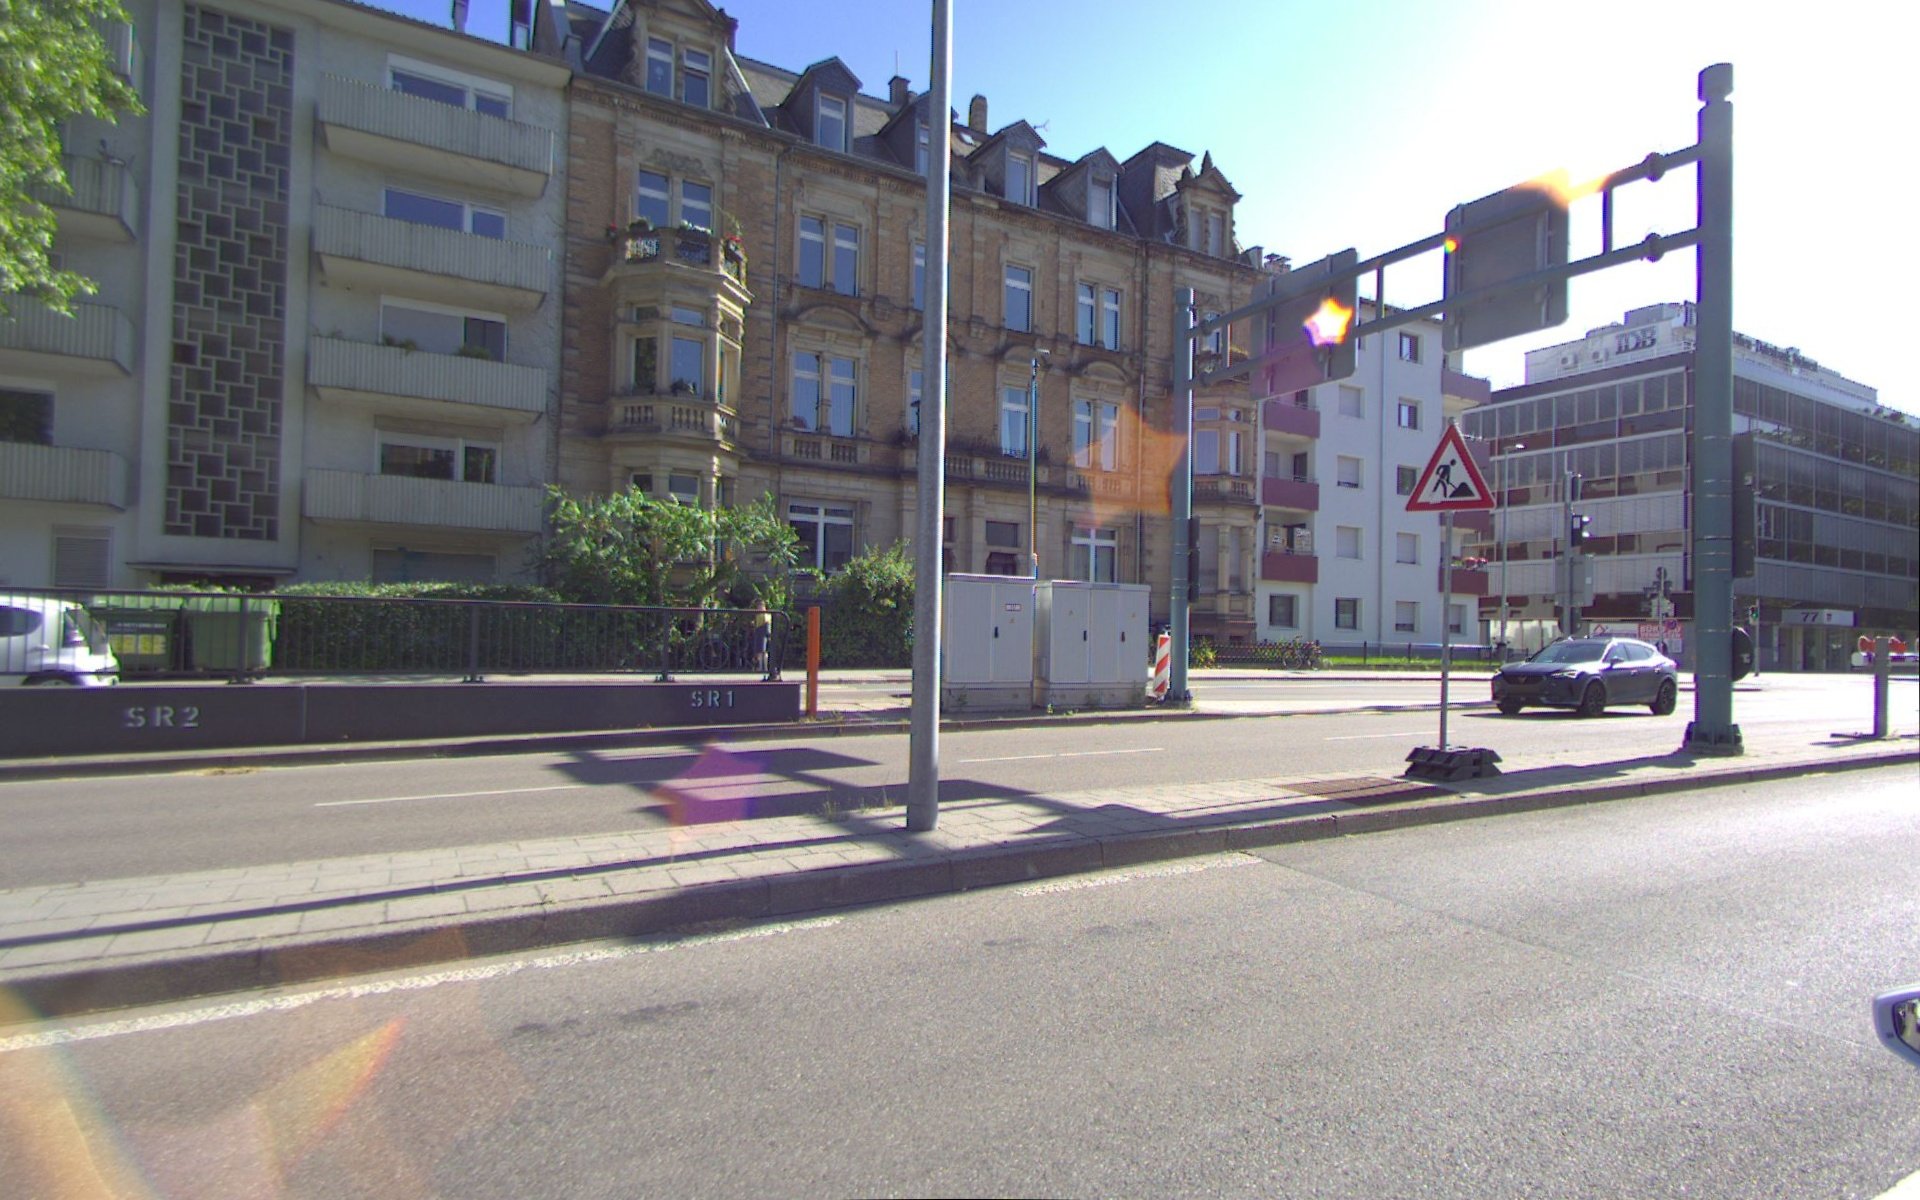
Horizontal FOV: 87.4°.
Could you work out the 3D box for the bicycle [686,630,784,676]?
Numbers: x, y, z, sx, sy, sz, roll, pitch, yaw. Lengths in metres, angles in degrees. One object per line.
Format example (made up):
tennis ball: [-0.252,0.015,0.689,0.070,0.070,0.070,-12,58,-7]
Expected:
bicycle: [-5.299,1.242,23.744,2.224,1.018,0.464,2,0,-32]

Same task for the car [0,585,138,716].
car: [-12.444,0.575,12.122,3.647,1.506,1.620,2,1,-30]

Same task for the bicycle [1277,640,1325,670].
bicycle: [11.396,1.852,33.532,1.916,0.971,0.303,2,-2,-29]

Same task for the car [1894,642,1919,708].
car: [24.133,1.716,23.479,4.560,1.472,1.986,1,-3,-28]

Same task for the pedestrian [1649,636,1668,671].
pedestrian: [34.468,2.621,49.576,0.688,1.679,0.745,0,-1,31]

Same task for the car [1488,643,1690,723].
car: [12.655,1.617,20.169,4.260,1.459,1.600,2,-4,-30]

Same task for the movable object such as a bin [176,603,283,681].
movable object such as a bin: [-13.342,0.770,18.404,1.455,1.378,0.889,1,-3,-28]

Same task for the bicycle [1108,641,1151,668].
bicycle: [5.046,1.615,29.908,1.397,0.781,0.297,2,-2,-29]

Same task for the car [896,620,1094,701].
car: [0.713,1.149,19.874,3.646,1.457,1.620,1,-2,-30]

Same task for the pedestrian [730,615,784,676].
pedestrian: [-4.729,1.058,23.390,1.078,1.396,0.563,2,-1,-31]

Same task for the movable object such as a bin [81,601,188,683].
movable object such as a bin: [-14.564,0.743,17.773,1.299,1.380,0.889,1,-3,-30]

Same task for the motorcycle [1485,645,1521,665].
motorcycle: [26.655,2.699,49.280,1.815,0.948,0.502,2,-1,-23]

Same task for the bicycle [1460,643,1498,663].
bicycle: [26.334,2.690,50.981,1.852,0.991,0.507,2,-1,-13]
